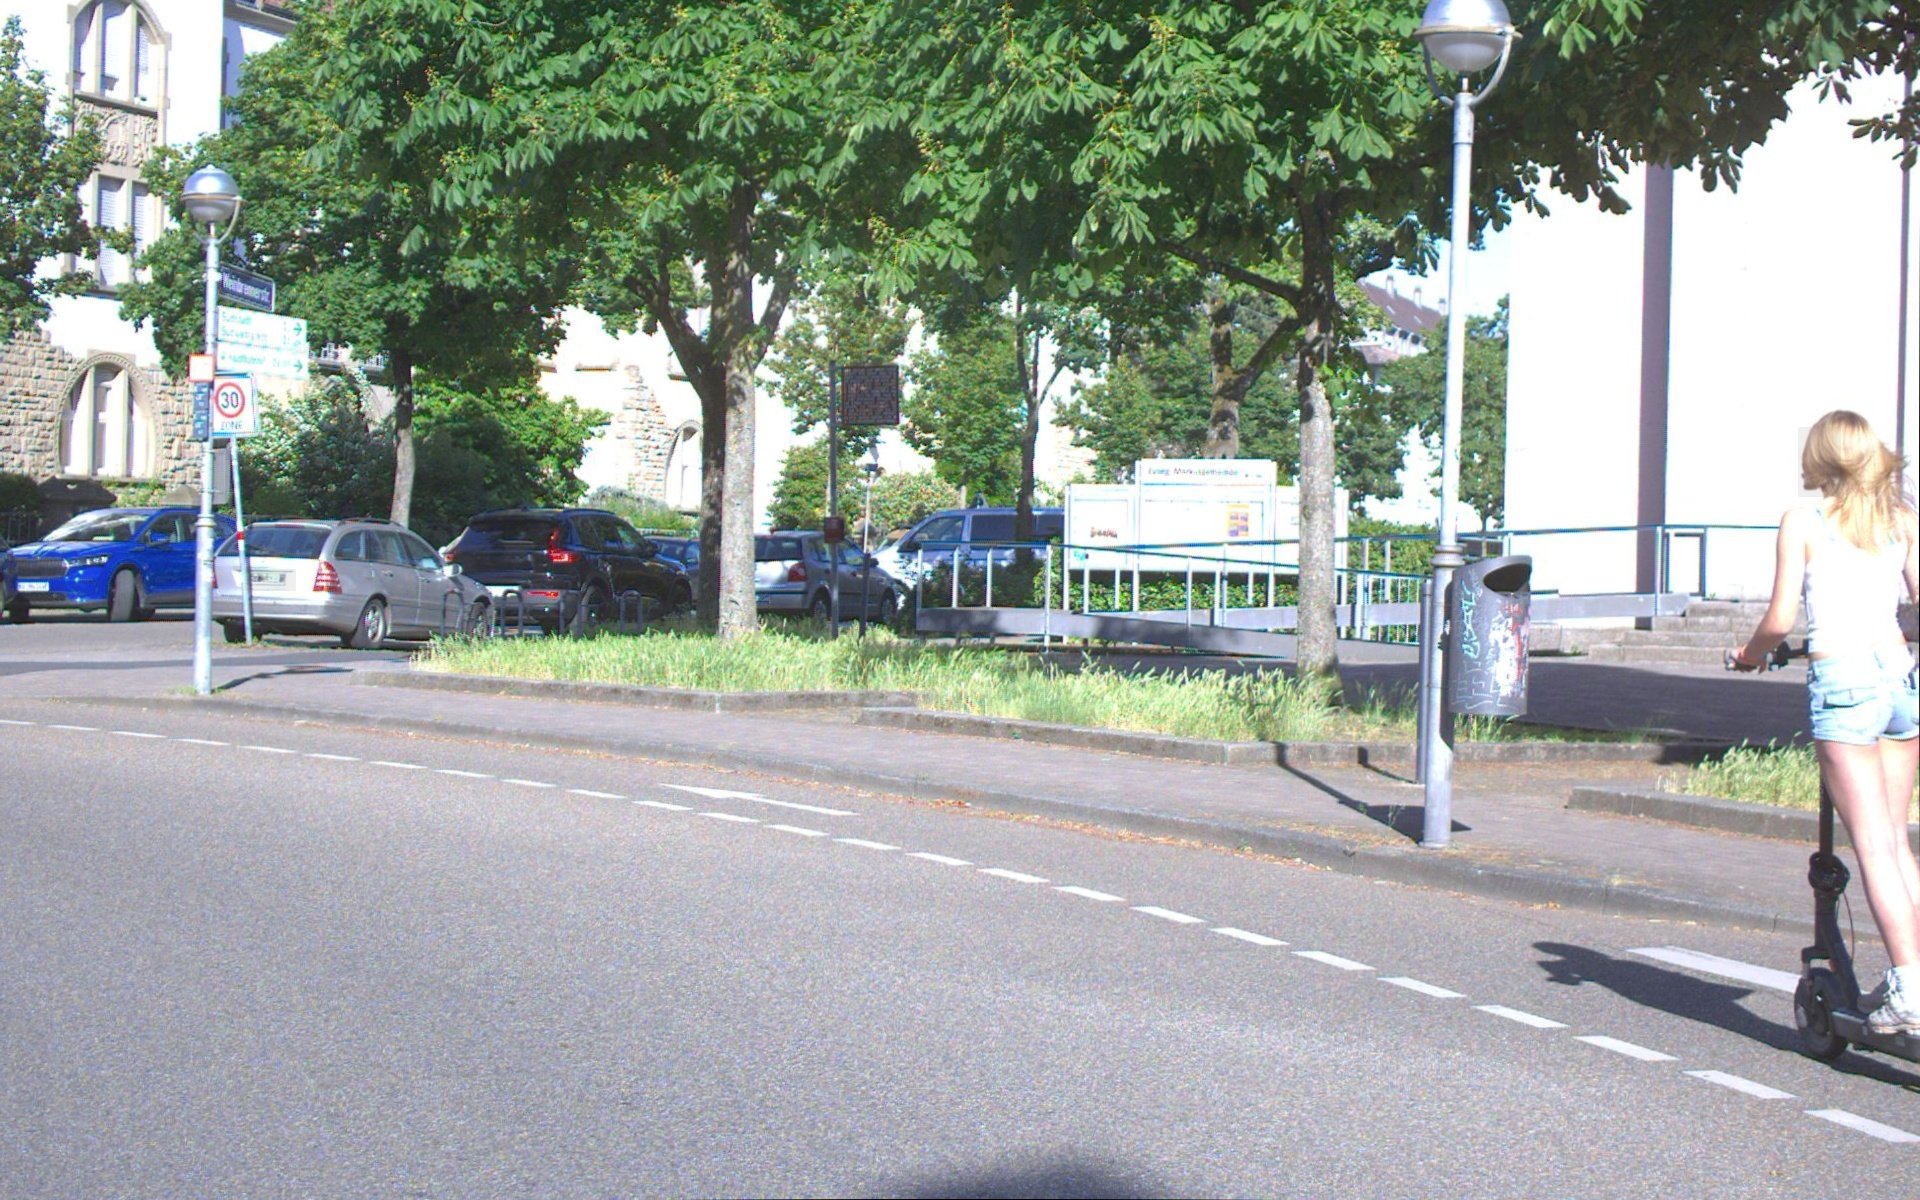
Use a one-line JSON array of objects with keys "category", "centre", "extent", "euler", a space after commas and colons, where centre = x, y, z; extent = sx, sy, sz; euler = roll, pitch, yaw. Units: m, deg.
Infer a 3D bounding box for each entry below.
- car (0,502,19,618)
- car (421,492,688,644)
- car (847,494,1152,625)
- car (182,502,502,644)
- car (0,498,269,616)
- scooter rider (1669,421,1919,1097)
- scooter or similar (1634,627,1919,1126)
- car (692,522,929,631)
[{"category": "car", "centre": [-13.527, -0.476, 42.442], "extent": [1.805, 1.478, 4.336], "euler": [-1, 1, 14]}, {"category": "car", "centre": [-4.952, -0.411, 42.648], "extent": [1.805, 1.722, 4.336], "euler": [2, 1, 14]}, {"category": "car", "centre": [0.683, -0.695, 57.833], "extent": [4.767, 1.994, 1.808], "euler": [2, 1, 14]}, {"category": "car", "centre": [-6.736, -0.310, 37.967], "extent": [1.805, 1.411, 4.336], "euler": [2, 1, 14]}, {"category": "car", "centre": [-11.527, -0.599, 47.810], "extent": [1.805, 1.556, 4.395], "euler": [-1, 1, 18]}, {"category": "scooter rider", "centre": [2.436, 0.430, 9.645], "extent": [0.623, 1.825, 0.632], "euler": [1, 1, -11]}, {"category": "scooter or similar", "centre": [2.424, 0.739, 9.651], "extent": [0.630, 1.278, 1.106], "euler": [1, 1, -11]}, {"category": "car", "centre": [-2.141, -0.350, 50.456], "extent": [1.806, 1.469, 4.334], "euler": [3, 1, 22]}]
